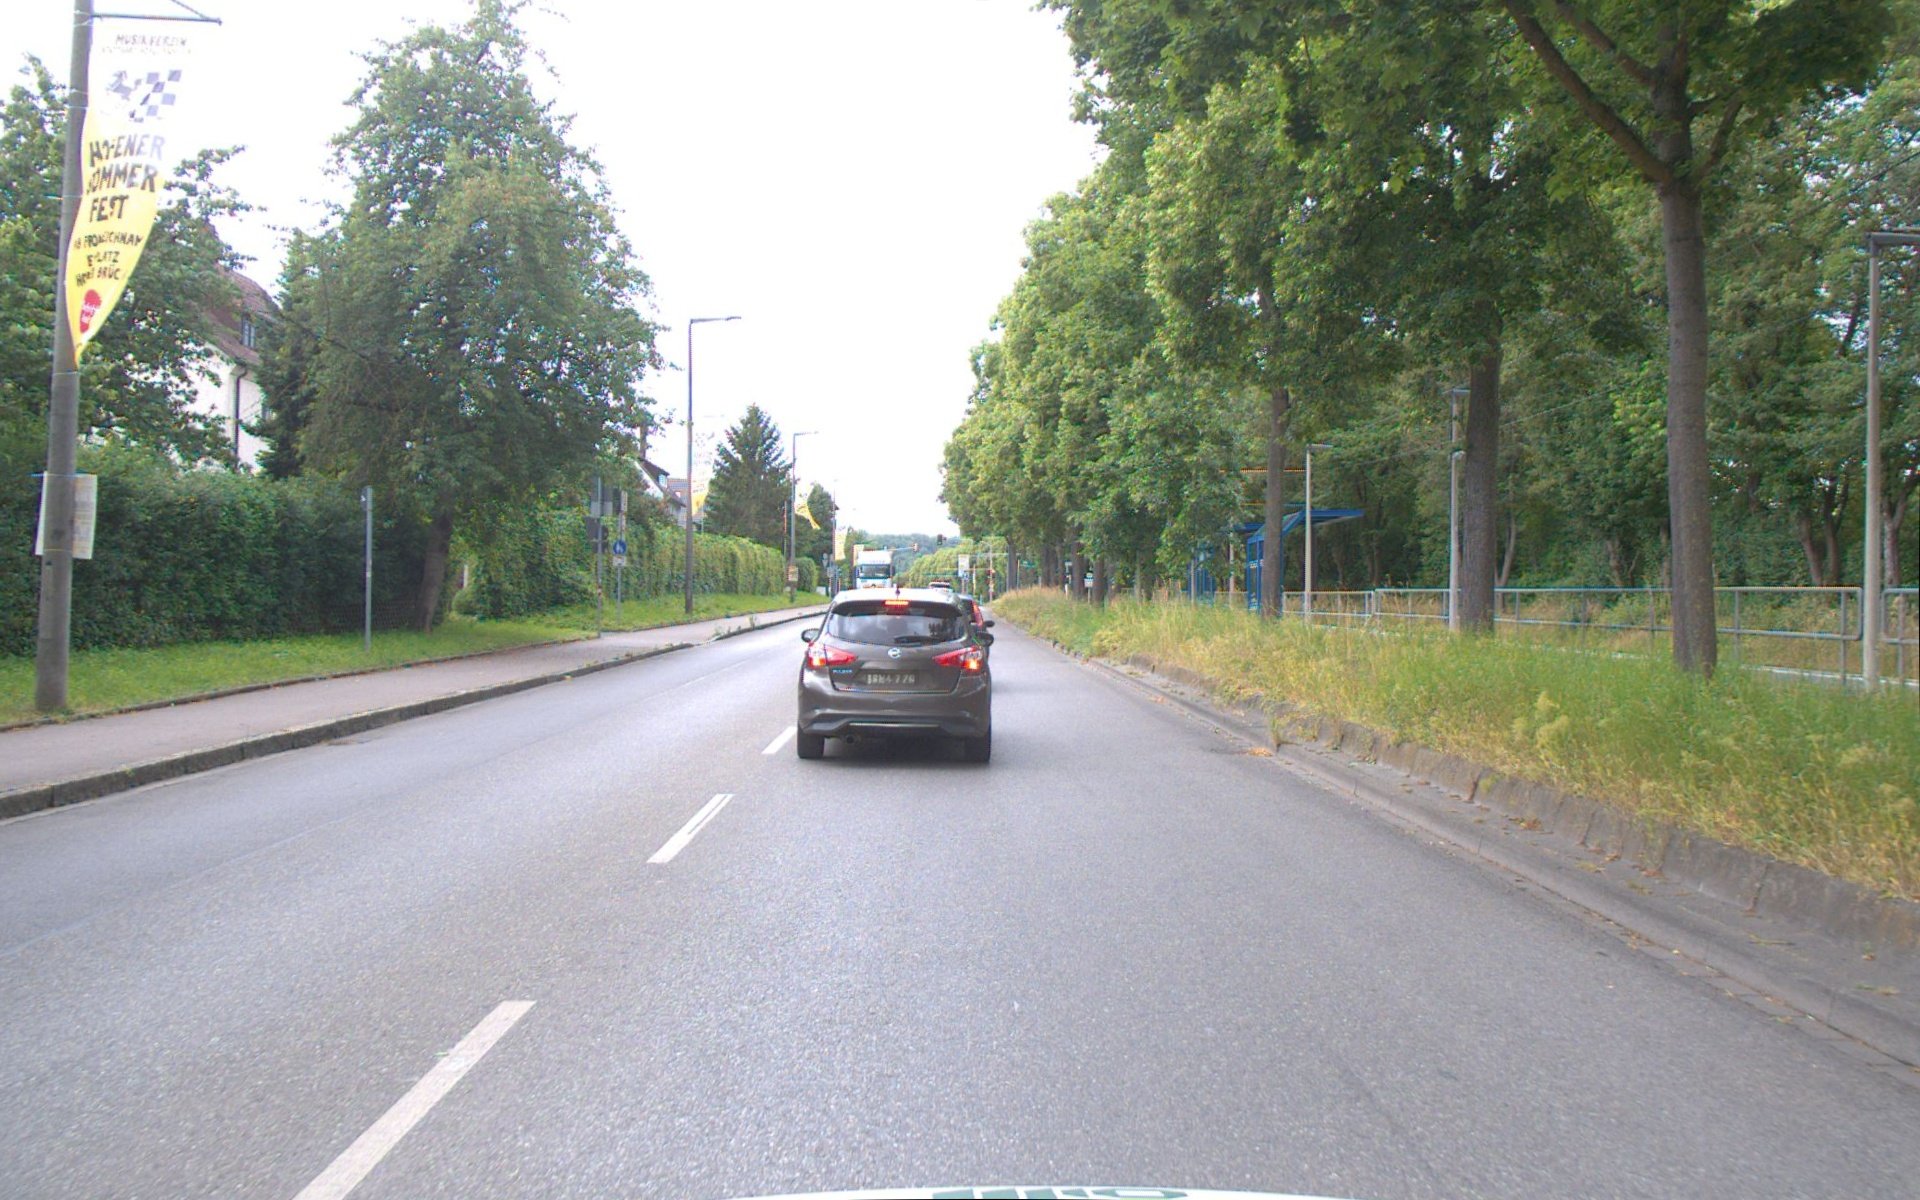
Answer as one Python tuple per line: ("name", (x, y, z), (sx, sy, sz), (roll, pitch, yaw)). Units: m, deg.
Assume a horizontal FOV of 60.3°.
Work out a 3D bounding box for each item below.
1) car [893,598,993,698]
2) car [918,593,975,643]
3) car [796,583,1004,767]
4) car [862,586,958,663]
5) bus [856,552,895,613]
("car", (-0.293, 0.722, 26.520), (1.471, 1.466, 3.540), (1, 0, -1))
("car", (-0.444, 0.537, 51.433), (1.657, 1.466, 3.540), (1, 0, -1))
("car", (-0.531, 0.651, 15.913), (1.747, 1.533, 3.695), (1, 0, -1))
("car", (-1.068, 0.538, 36.625), (1.953, 1.512, 3.999), (3, -1, -1))
("bus", (-5.984, -1.233, 118.247), (2.437, 4.096, 10.214), (1, 0, -1))
